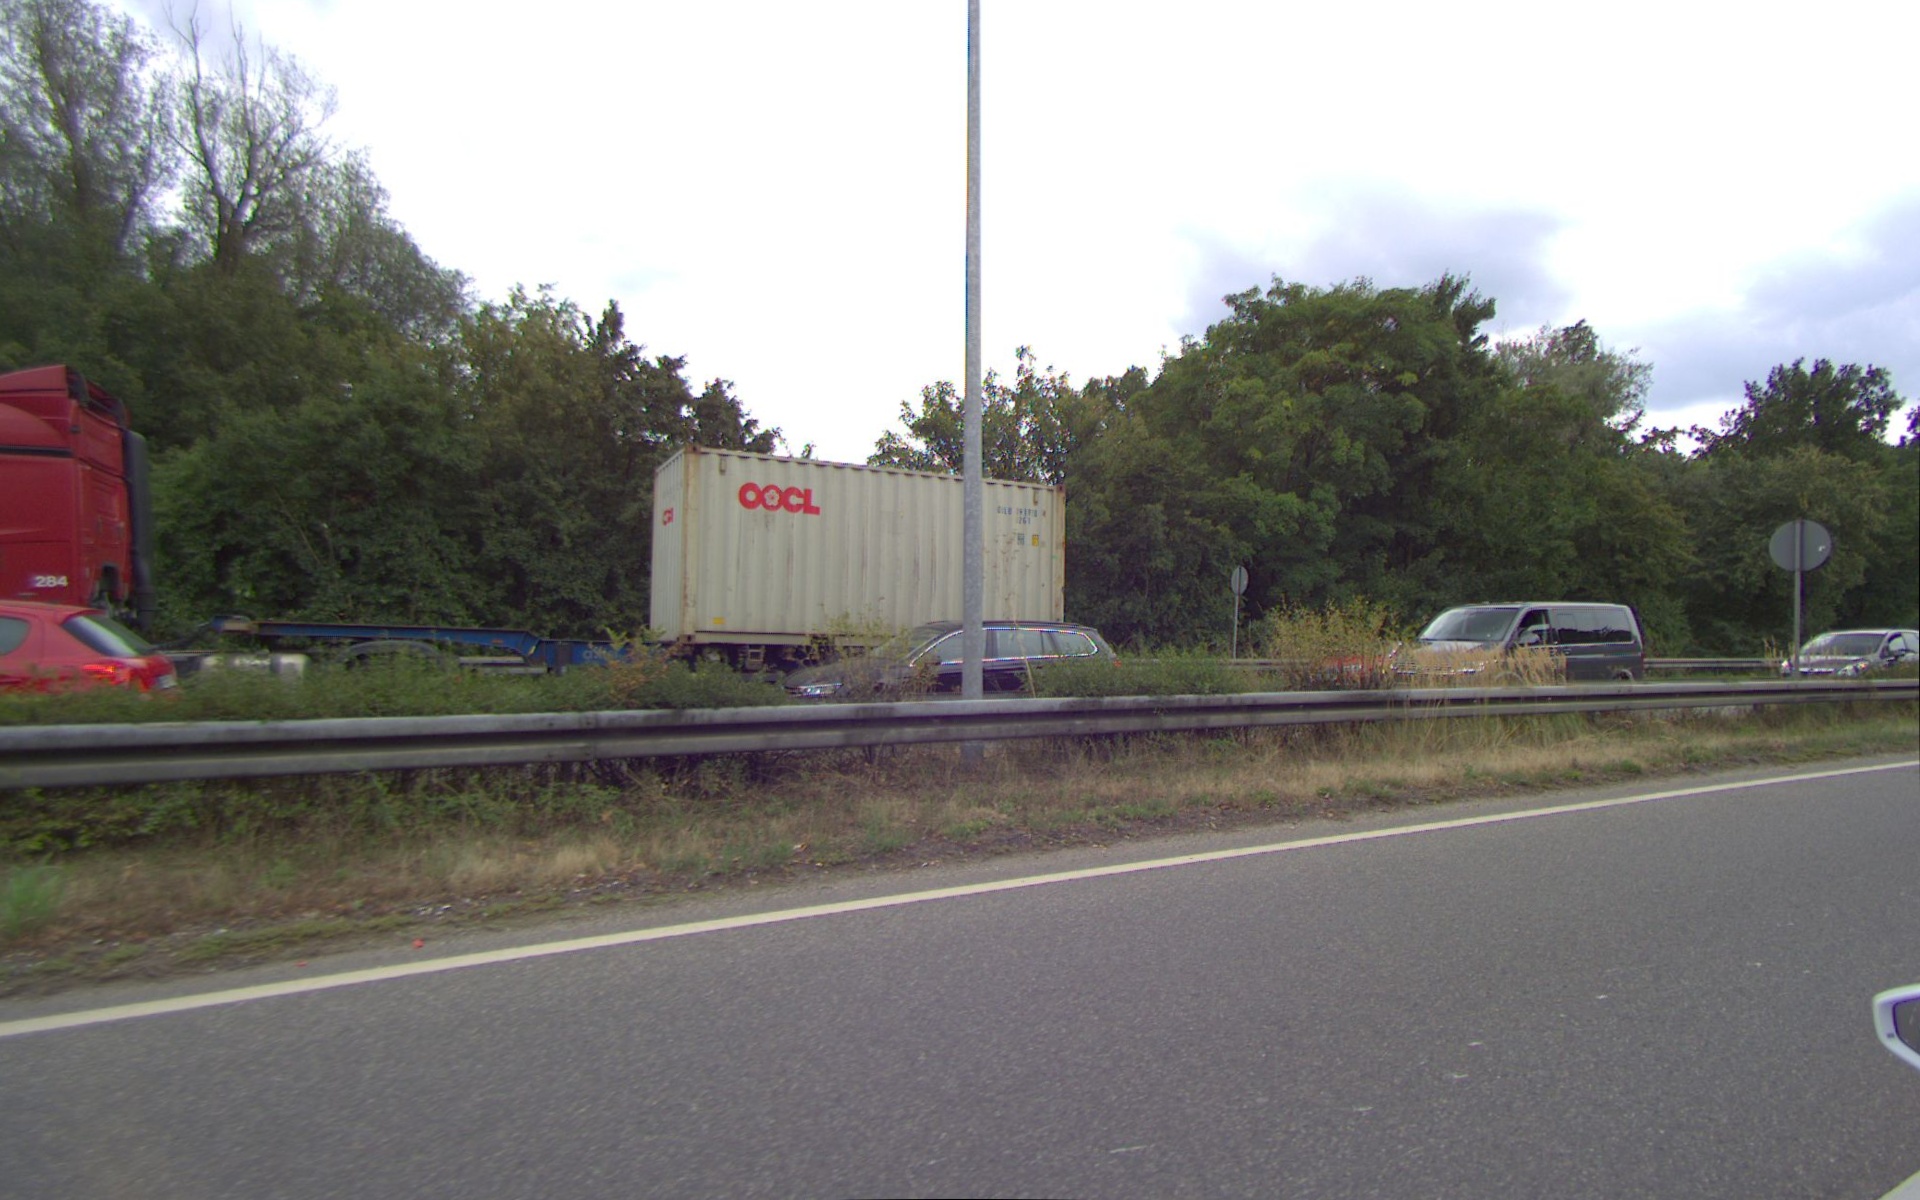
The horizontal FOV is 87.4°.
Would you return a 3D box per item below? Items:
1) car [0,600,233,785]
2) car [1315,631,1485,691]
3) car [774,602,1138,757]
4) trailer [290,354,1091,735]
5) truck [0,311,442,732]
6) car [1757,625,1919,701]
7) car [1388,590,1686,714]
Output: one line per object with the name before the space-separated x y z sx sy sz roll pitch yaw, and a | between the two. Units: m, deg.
car | -8.645 0.700 8.253 4.077 1.450 1.796 3 -2 -30
car | 10.924 1.523 24.889 4.106 1.349 1.618 3 -2 -26
car | -0.011 0.969 12.847 4.282 1.688 1.833 3 -2 -29
trailer | -3.196 -0.380 14.714 10.639 4.202 2.524 3 -2 -28
truck | -9.133 -0.719 11.493 5.553 4.137 2.558 3 -2 -28
car | 19.677 1.385 22.208 3.889 1.526 1.761 3 -2 -27
car | 10.002 0.906 17.319 5.212 1.887 2.001 3 -2 -28
